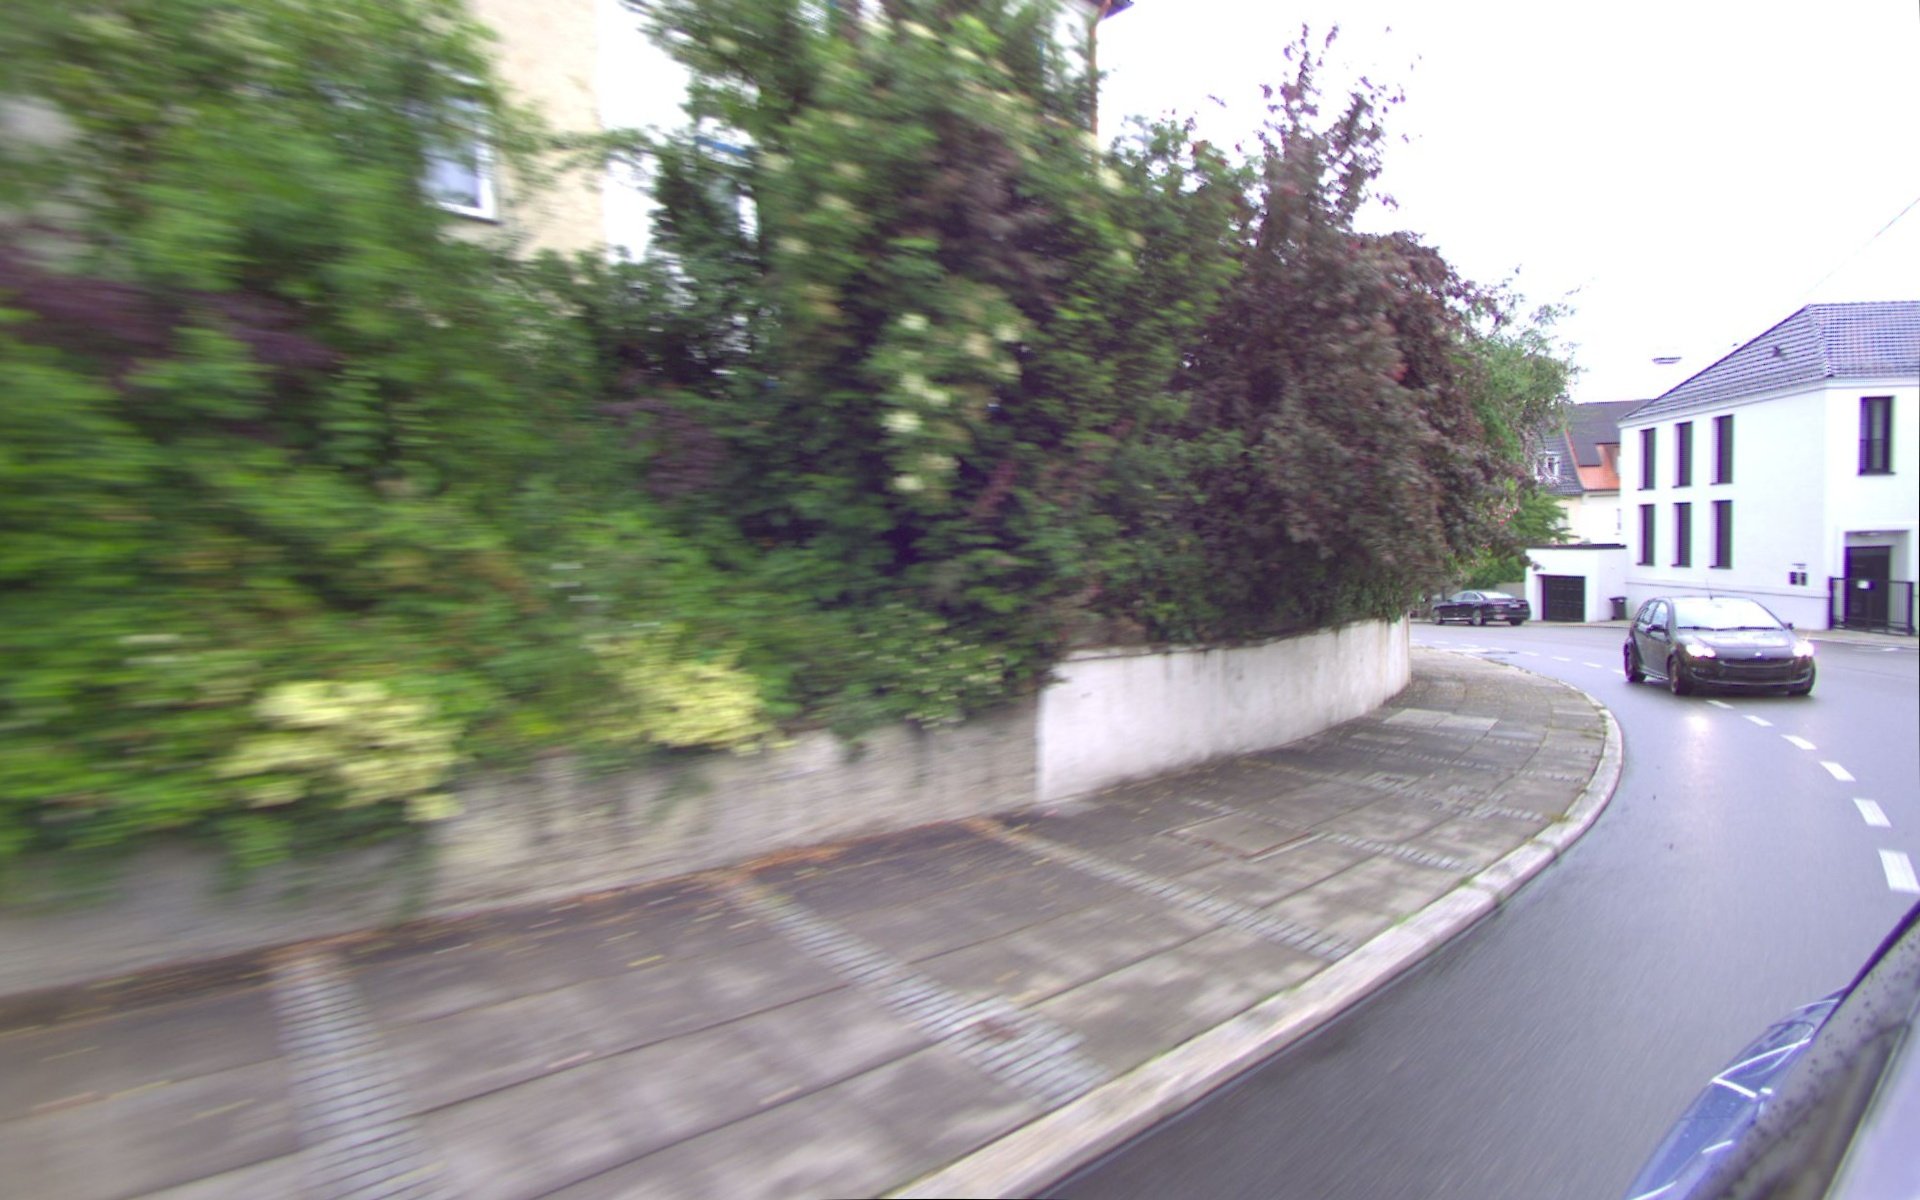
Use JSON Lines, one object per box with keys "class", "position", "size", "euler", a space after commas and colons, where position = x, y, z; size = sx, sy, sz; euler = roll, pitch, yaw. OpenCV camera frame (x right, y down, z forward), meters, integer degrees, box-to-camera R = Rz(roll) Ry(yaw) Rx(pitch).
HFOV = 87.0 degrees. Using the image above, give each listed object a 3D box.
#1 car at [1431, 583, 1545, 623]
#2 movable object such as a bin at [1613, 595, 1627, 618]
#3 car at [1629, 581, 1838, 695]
{"class": "car", "position": [22.126, 0.096, 42.666], "size": [1.798, 1.504, 4.996], "euler": [-2, 1, -5]}
{"class": "movable object such as a bin", "position": [26.324, 0.259, 40.387], "size": [0.364, 0.924, 0.283], "euler": [0, 0, -5]}
{"class": "car", "position": [11.872, 0.516, 15.807], "size": [1.662, 1.430, 3.611], "euler": [-3, 1, 23]}
